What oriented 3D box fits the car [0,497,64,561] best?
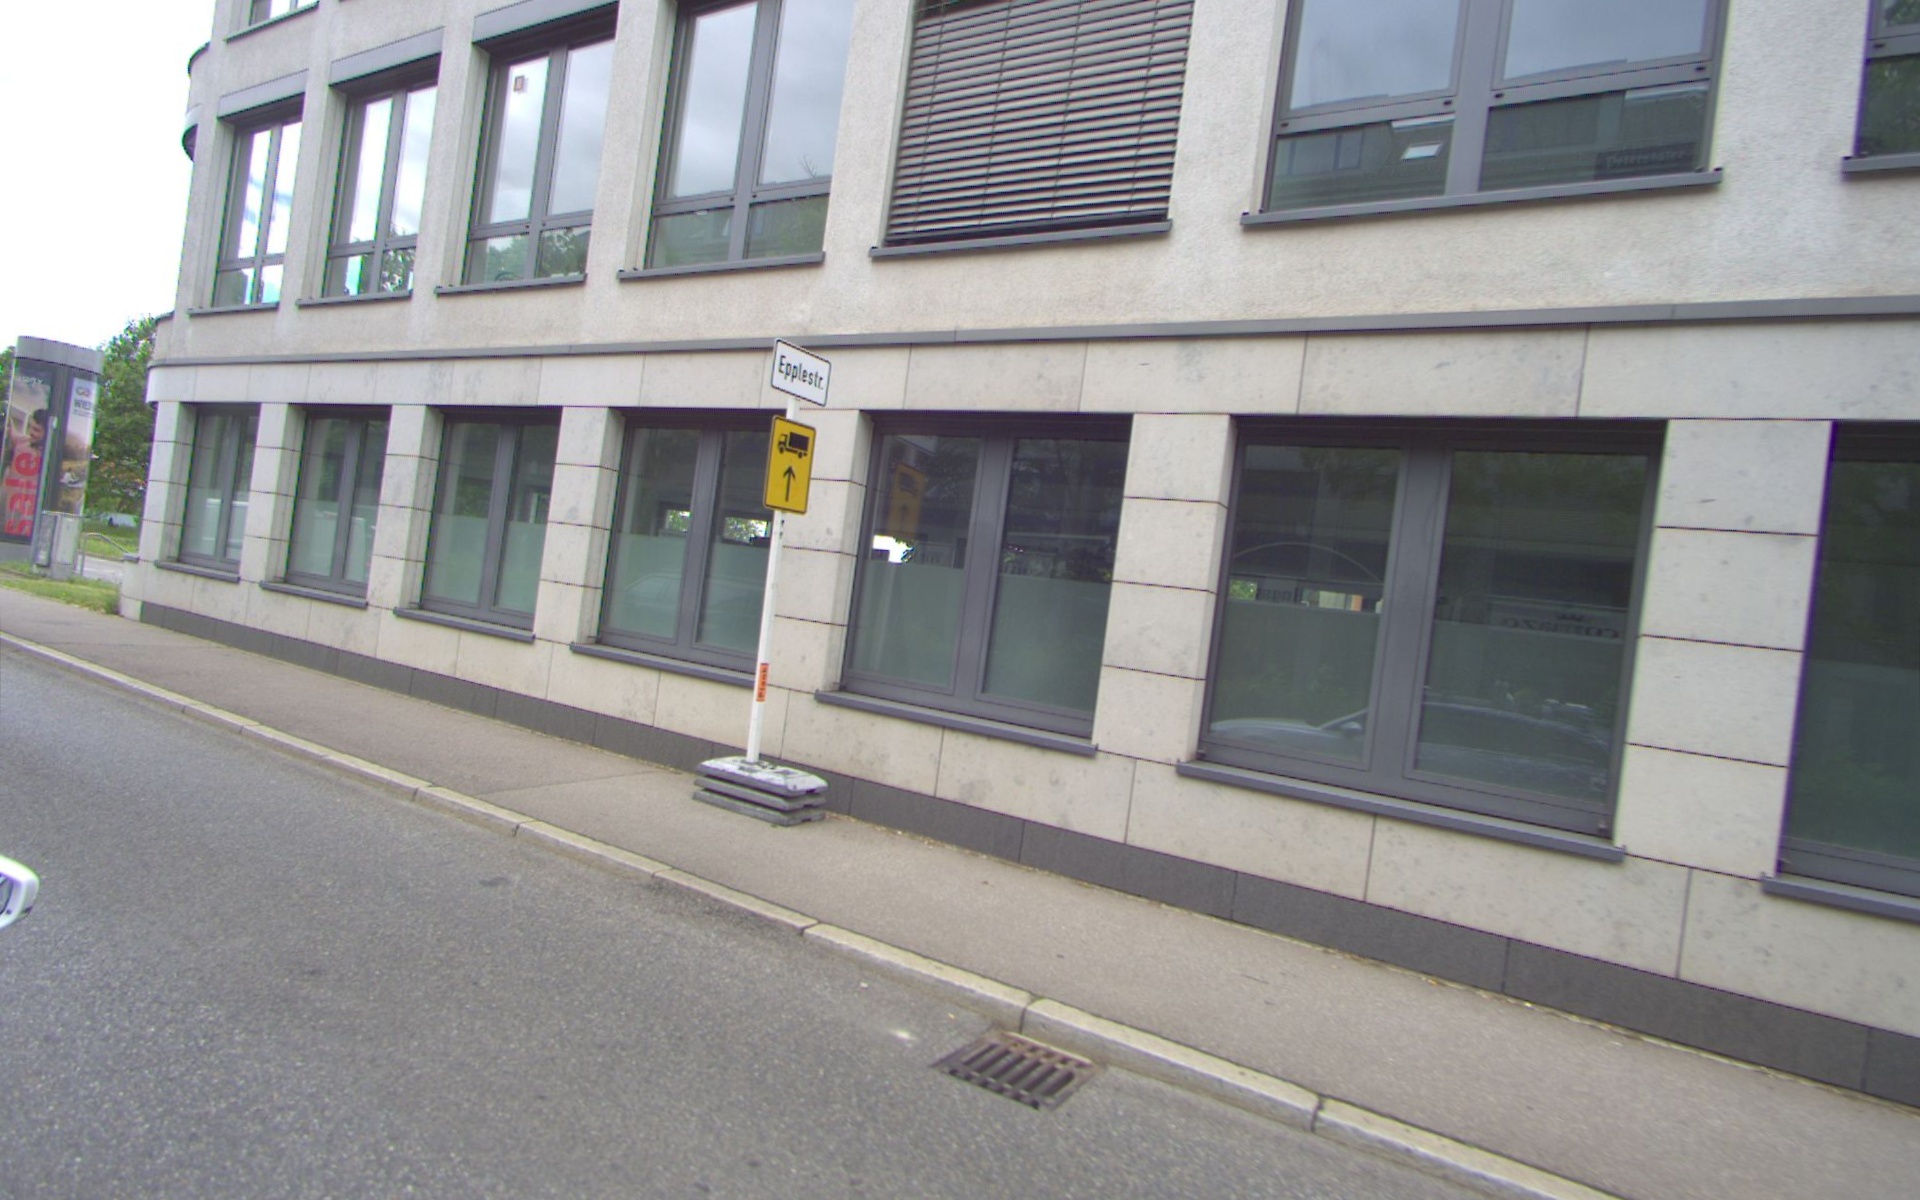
[{"bbox_3d":[-30.355,-2.371,31.274,3.718,1.703,1.706,7,-2,12],"label":"car"}]
